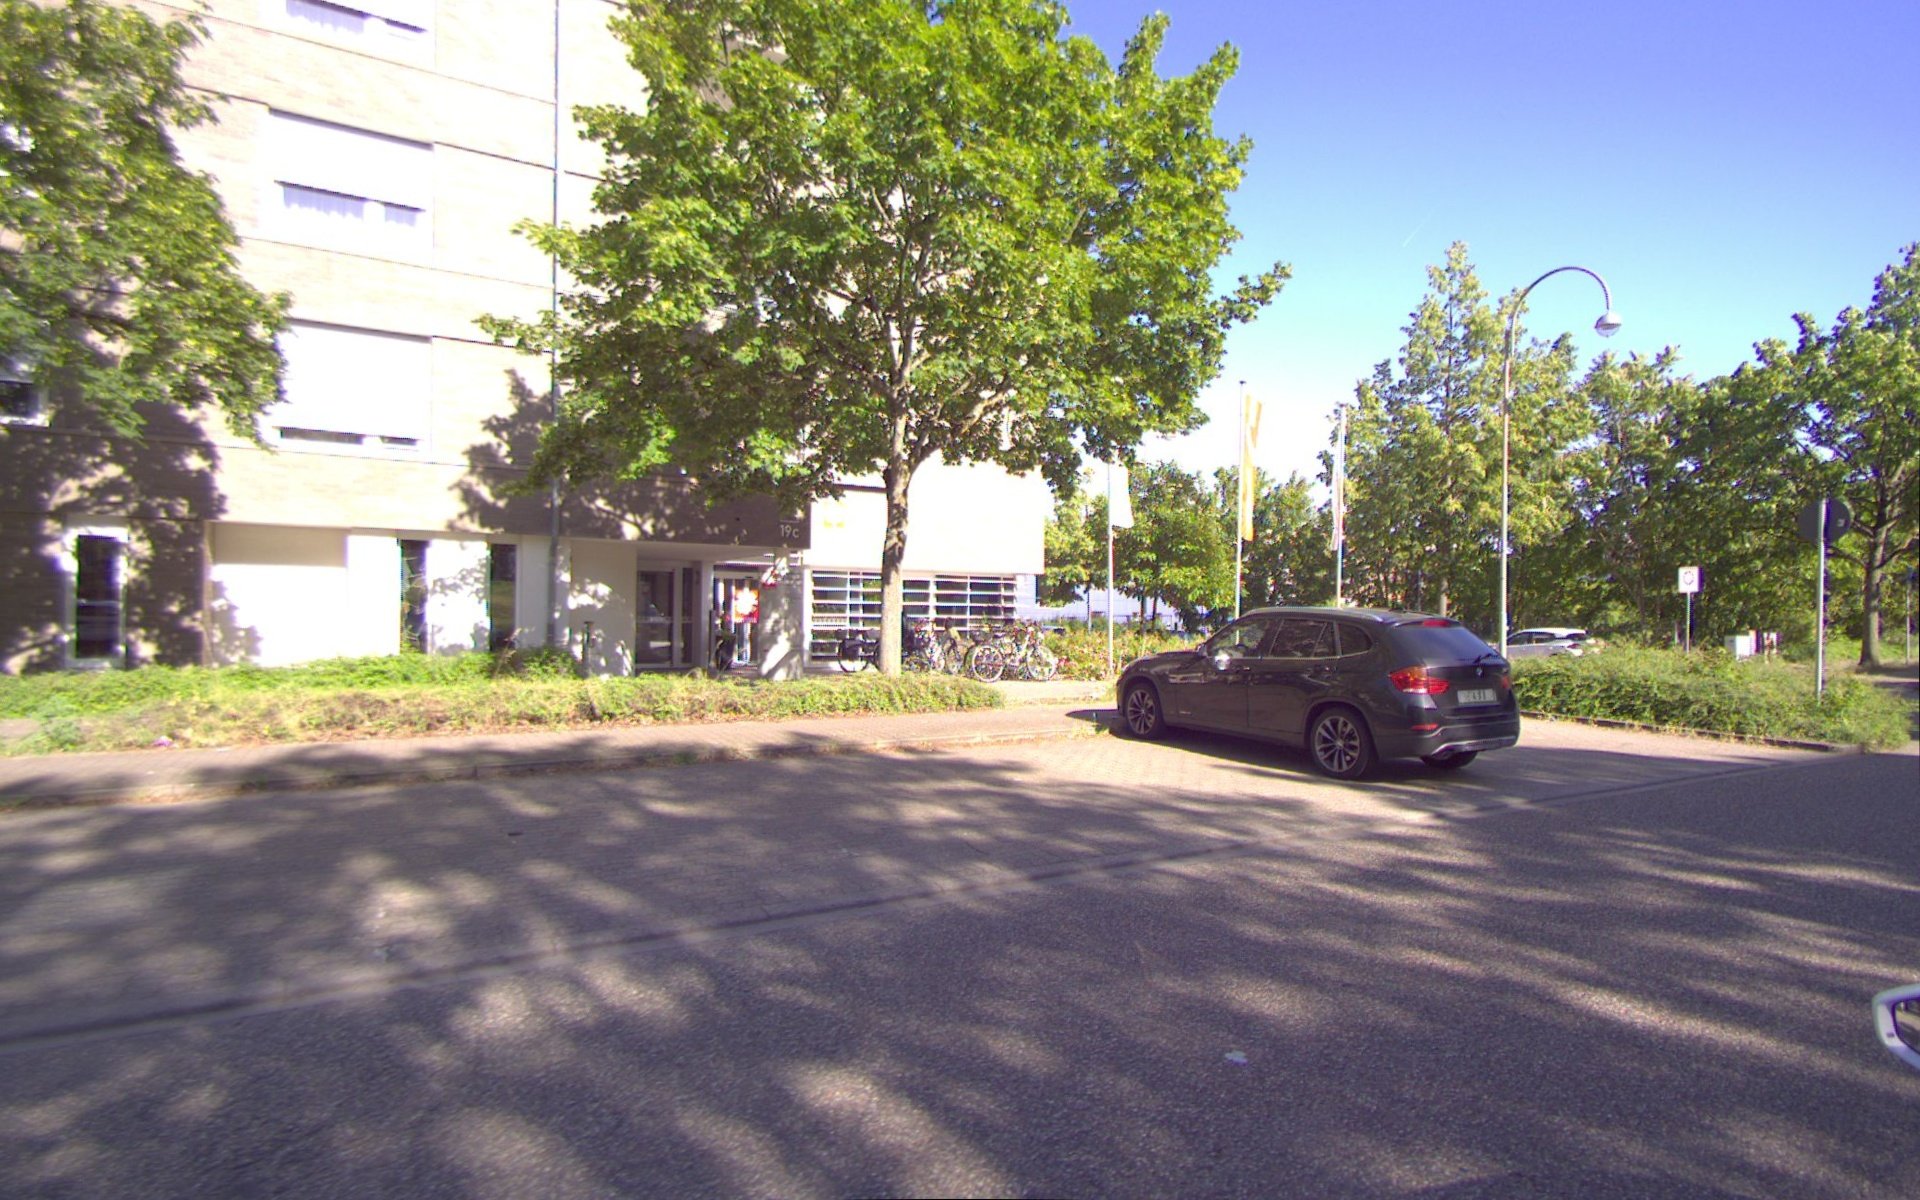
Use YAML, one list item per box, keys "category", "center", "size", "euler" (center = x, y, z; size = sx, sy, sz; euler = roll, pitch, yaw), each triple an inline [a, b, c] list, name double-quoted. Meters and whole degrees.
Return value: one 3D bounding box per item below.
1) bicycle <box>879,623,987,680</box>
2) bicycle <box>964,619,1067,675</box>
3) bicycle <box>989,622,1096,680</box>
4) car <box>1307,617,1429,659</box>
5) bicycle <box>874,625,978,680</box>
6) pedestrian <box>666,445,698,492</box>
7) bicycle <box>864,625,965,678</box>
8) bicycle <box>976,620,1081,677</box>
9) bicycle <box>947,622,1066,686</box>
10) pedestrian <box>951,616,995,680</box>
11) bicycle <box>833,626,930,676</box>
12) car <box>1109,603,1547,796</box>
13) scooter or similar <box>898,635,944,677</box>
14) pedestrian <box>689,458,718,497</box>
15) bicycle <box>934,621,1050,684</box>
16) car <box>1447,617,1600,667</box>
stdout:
- category: "bicycle"
  center: [-0.513, 1.005, 19.782]
  size: [2.167, 1.061, 0.435]
  euler: [1, 0, -30]
- category: "bicycle"
  center: [1.131, 0.935, 20.084]
  size: [2.167, 1.061, 0.435]
  euler: [1, 0, -30]
- category: "bicycle"
  center: [1.601, 0.963, 19.190]
  size: [2.167, 1.061, 0.435]
  euler: [1, 0, -30]
- category: "car"
  center: [15.256, 1.417, 37.774]
  size: [1.809, 1.491, 4.037]
  euler: [1, -2, -29]
- category: "bicycle"
  center: [-0.681, 1.068, 20.632]
  size: [2.167, 1.061, 0.435]
  euler: [1, 0, -30]
- category: "pedestrian"
  center: [-5.314, -2.505, 19.219]
  size: [0.360, 0.809, 0.676]
  euler: [1, 0, -37]
- category: "bicycle"
  center: [-0.940, 1.075, 21.098]
  size: [2.167, 1.061, 0.435]
  euler: [1, 0, -30]
- category: "bicycle"
  center: [1.356, 0.948, 19.646]
  size: [2.167, 1.061, 0.435]
  euler: [1, 0, -30]
- category: "bicycle"
  center: [0.835, 0.926, 17.505]
  size: [2.167, 1.061, 0.435]
  euler: [1, 0, -30]
- category: "pedestrian"
  center: [0.292, 1.054, 22.174]
  size: [0.736, 1.379, 0.665]
  euler: [1, -1, -29]
- category: "bicycle"
  center: [-1.723, 1.116, 22.347]
  size: [2.167, 1.061, 0.435]
  euler: [1, 0, -30]
- category: "car"
  center: [3.538, 0.837, 10.493]
  size: [1.750, 1.540, 4.174]
  euler: [1, 0, -29]
- category: "scooter or similar"
  center: [-0.953, 1.371, 24.579]
  size: [0.857, 0.967, 0.800]
  euler: [1, 1, -28]
- category: "pedestrian"
  center: [-5.104, -2.431, 19.984]
  size: [0.424, 0.695, 0.412]
  euler: [1, 0, -39]
- category: "bicycle"
  center: [0.594, 0.924, 17.920]
  size: [2.167, 1.061, 0.435]
  euler: [1, 0, -30]
- category: "car"
  center: [17.931, 1.348, 32.145]
  size: [1.605, 1.470, 4.061]
  euler: [1, -3, -28]
